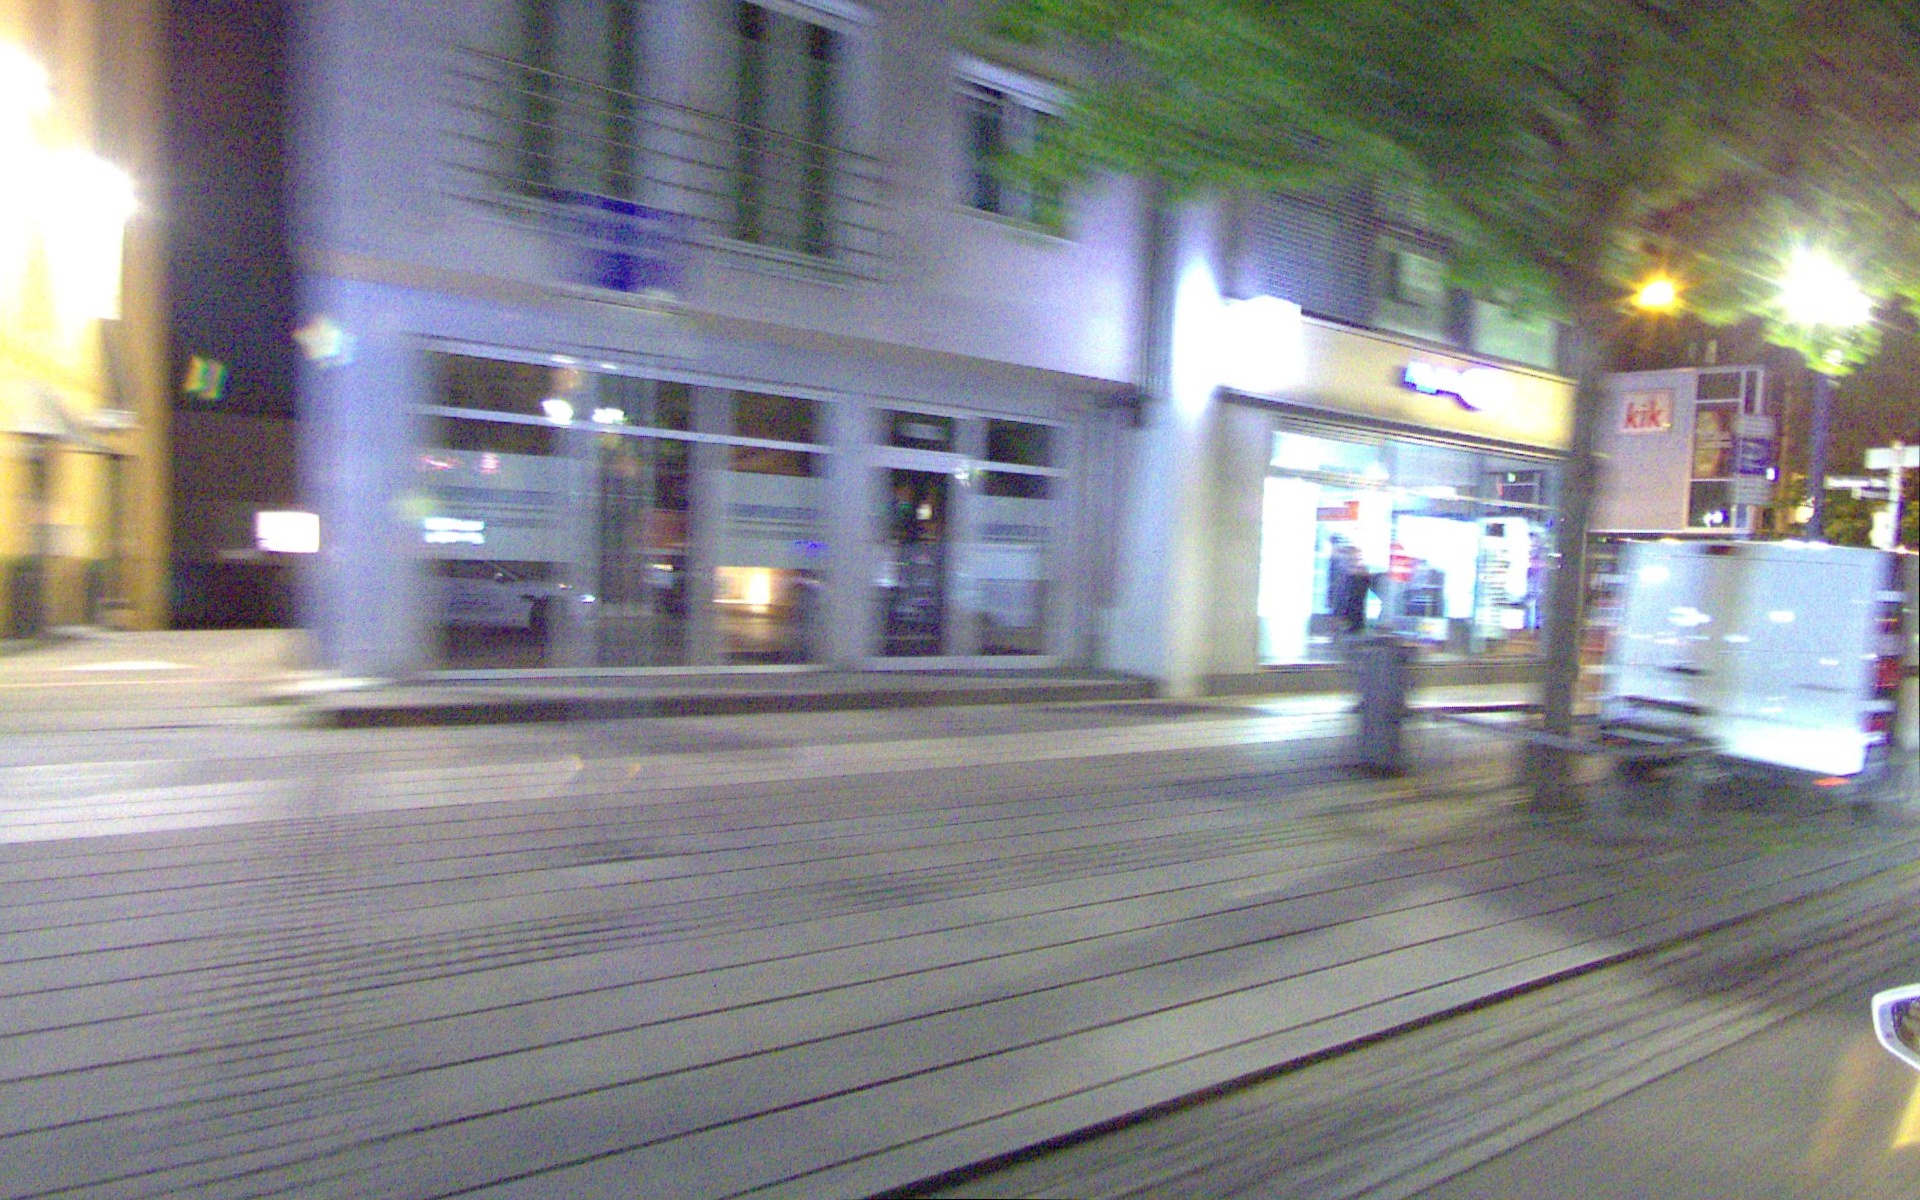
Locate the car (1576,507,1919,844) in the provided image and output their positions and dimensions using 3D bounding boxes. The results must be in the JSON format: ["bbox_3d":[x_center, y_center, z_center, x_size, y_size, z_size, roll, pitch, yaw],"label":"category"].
[{"bbox_3d":[7.459,0.450,8.515,5.039,2.115,1.840,1,4,-35],"label":"car"}]

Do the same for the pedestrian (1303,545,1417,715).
[{"bbox_3d":[4.283,0.304,10.759,0.897,1.742,0.665,1,2,-30],"label":"pedestrian"}]
